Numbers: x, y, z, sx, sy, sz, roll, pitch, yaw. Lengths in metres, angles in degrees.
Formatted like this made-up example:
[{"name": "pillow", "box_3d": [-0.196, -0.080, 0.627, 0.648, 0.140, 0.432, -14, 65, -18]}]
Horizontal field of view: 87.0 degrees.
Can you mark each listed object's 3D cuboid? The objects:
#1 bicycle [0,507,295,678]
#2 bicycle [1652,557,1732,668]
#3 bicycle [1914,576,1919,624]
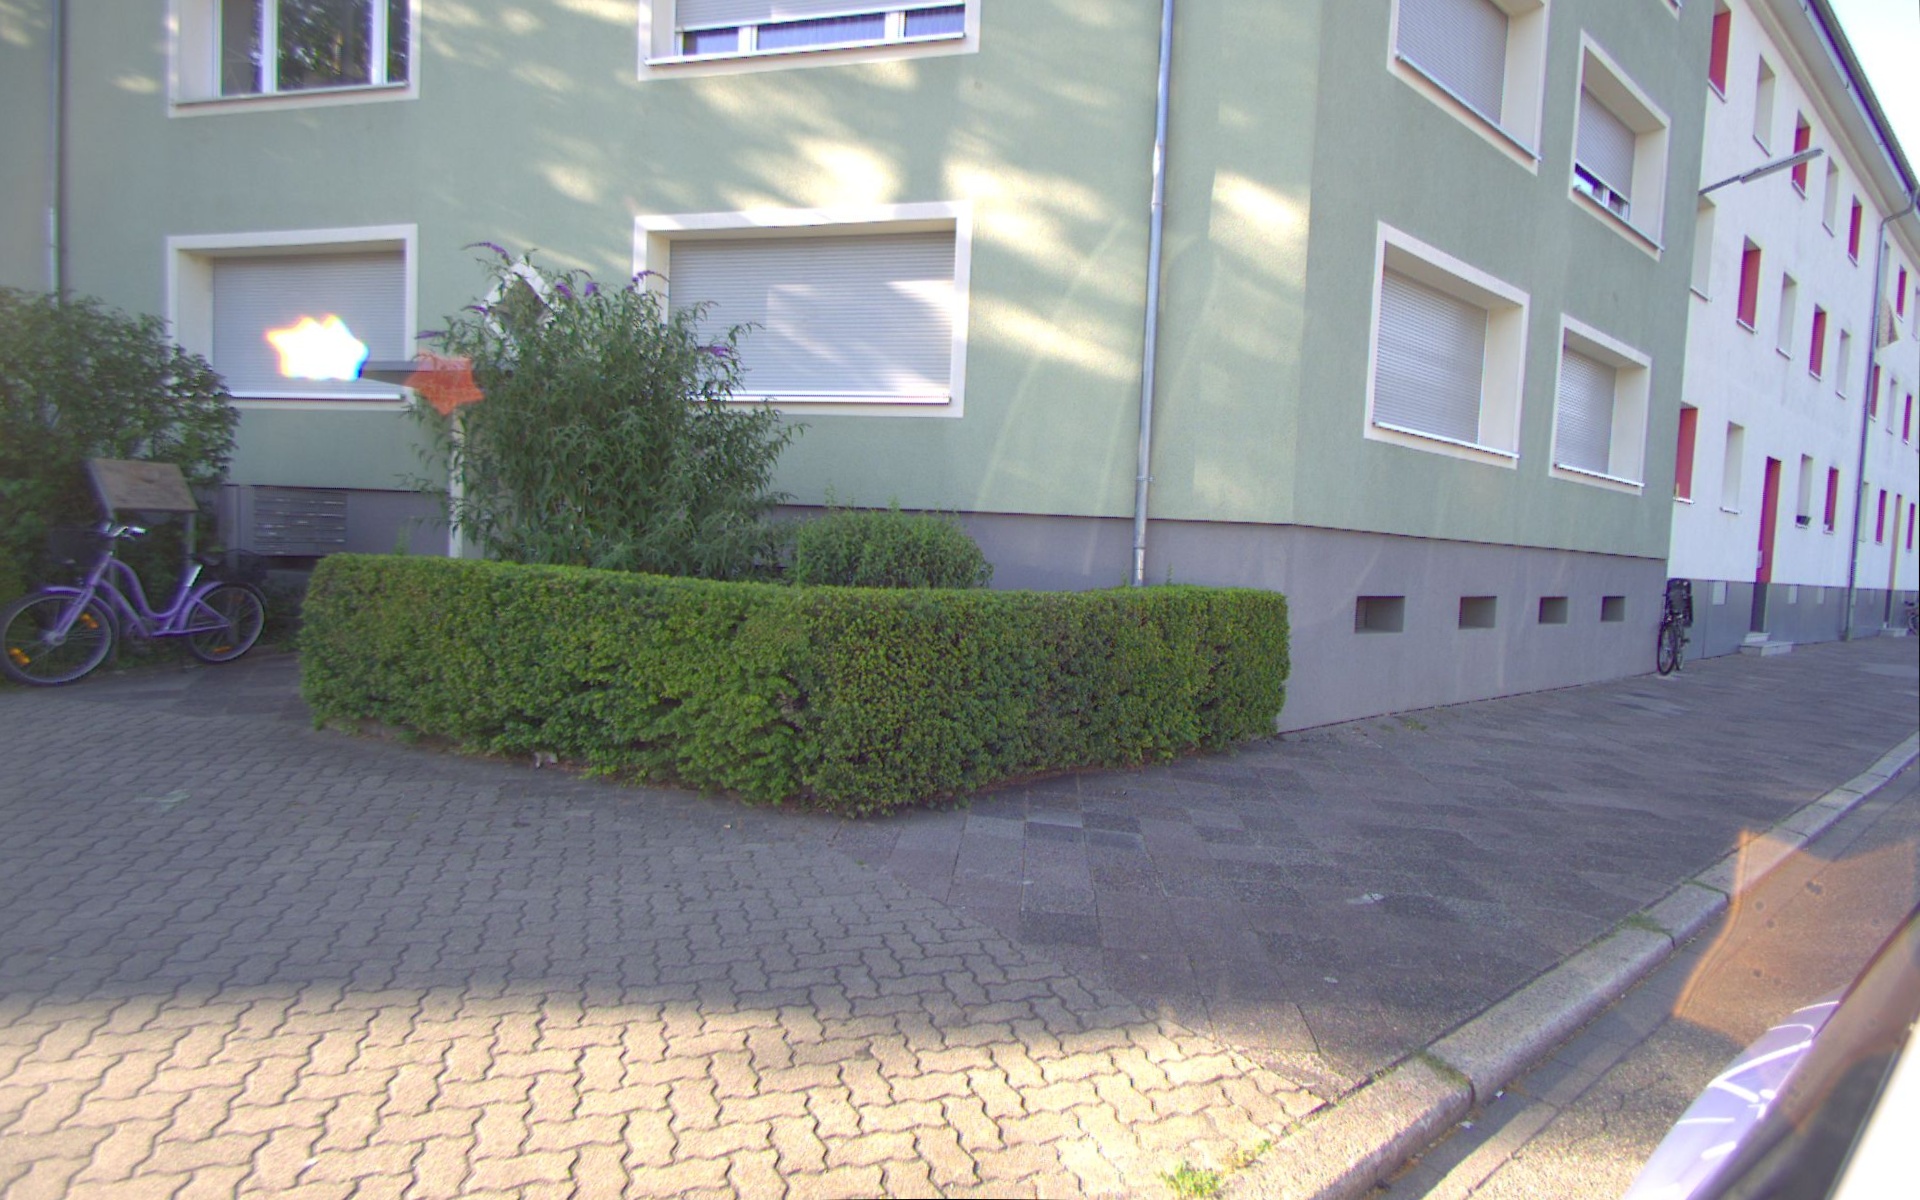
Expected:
[{"name": "bicycle", "box_3d": [-5.907, -0.094, 7.287, 0.515, 1.069, 1.920, 3, 3, 22]}, {"name": "bicycle", "box_3d": [10.135, 0.148, 13.988, 1.843, 1.429, 0.517, -1, 4, -44]}, {"name": "bicycle", "box_3d": [29.434, -0.005, 30.737, 1.843, 1.429, 0.517, -1, 4, -44]}]
